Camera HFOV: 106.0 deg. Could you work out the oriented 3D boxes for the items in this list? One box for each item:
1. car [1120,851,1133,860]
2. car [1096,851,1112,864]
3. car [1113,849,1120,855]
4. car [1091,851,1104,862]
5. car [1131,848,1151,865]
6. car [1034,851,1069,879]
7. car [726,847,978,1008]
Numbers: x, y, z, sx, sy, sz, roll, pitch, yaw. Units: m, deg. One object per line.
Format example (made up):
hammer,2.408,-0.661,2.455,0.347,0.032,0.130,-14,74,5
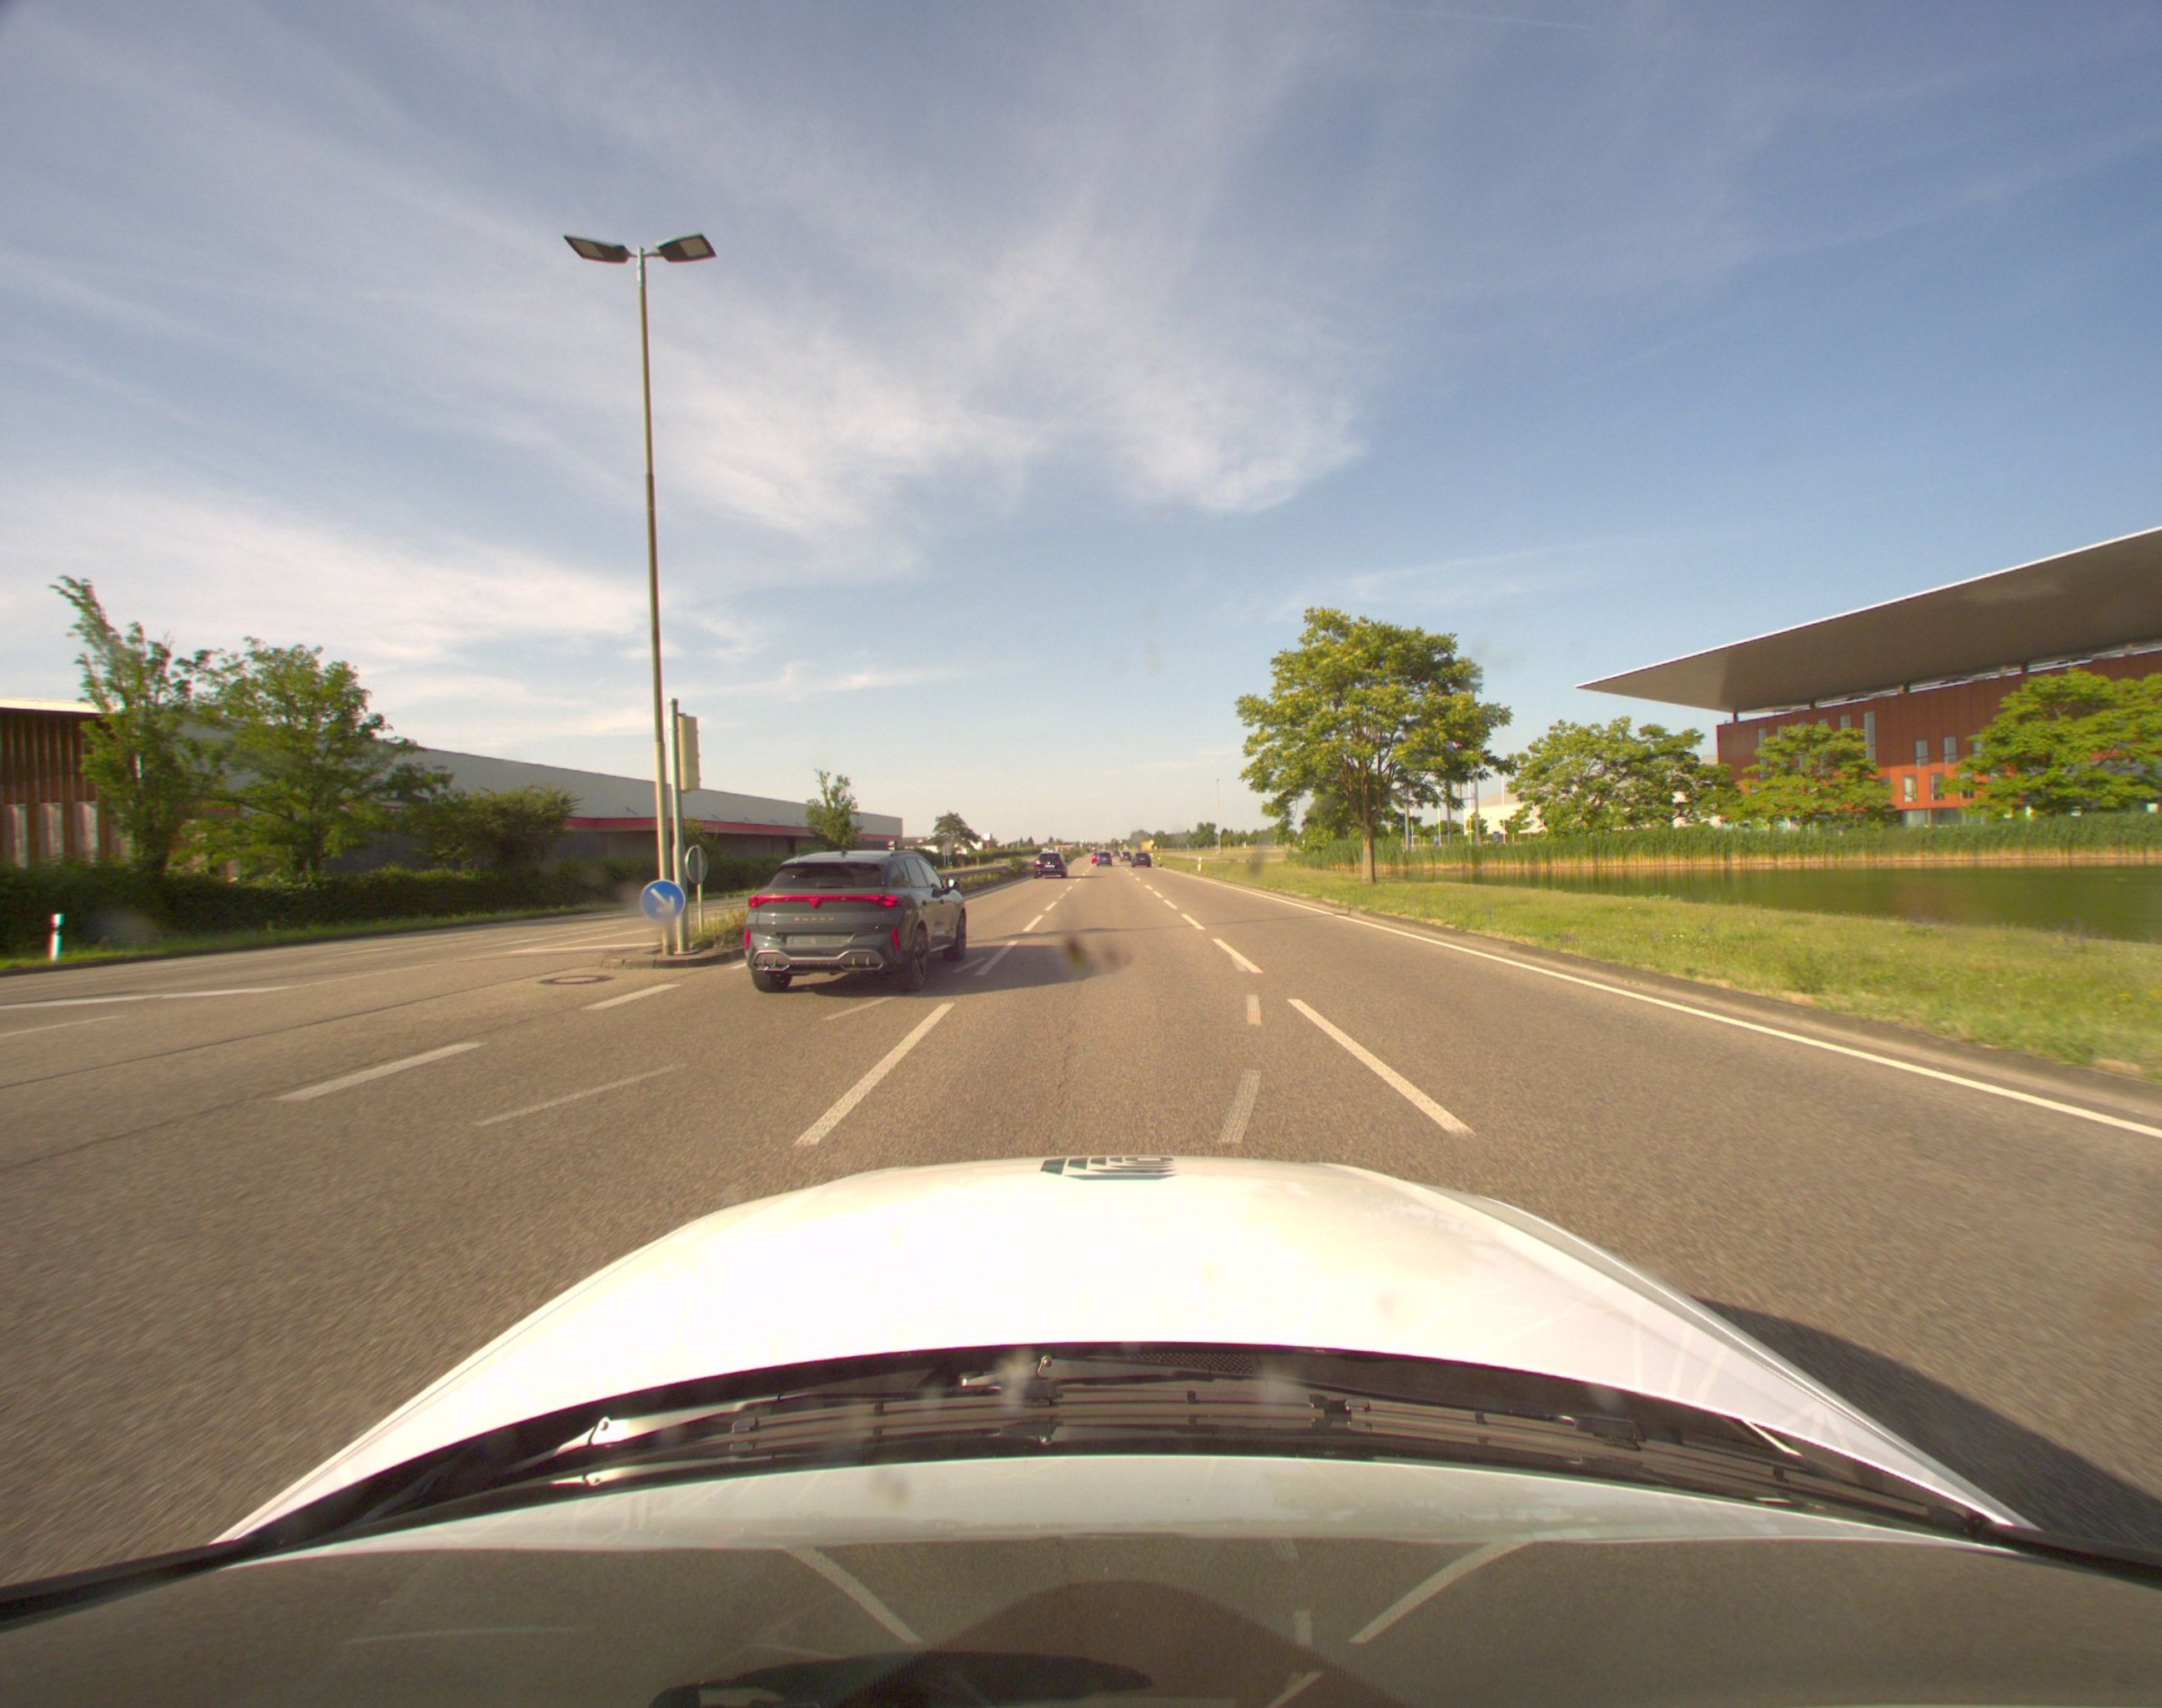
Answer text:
car,7.415,0.286,133.020,1.866,1.463,3.982,1,0,2
car,2.715,0.421,94.280,1.806,1.463,4.402,1,0,2
car,8.974,-0.534,206.285,1.497,1.313,3.157,1,0,2
car,2.321,0.316,113.192,1.641,1.463,3.982,1,0,2
car,6.305,0.259,85.753,1.925,1.680,4.402,1,0,2
car,-1.872,0.637,52.141,1.925,1.680,4.402,1,0,2
car,-2.595,0.725,10.429,1.839,1.611,4.402,1,0,2
